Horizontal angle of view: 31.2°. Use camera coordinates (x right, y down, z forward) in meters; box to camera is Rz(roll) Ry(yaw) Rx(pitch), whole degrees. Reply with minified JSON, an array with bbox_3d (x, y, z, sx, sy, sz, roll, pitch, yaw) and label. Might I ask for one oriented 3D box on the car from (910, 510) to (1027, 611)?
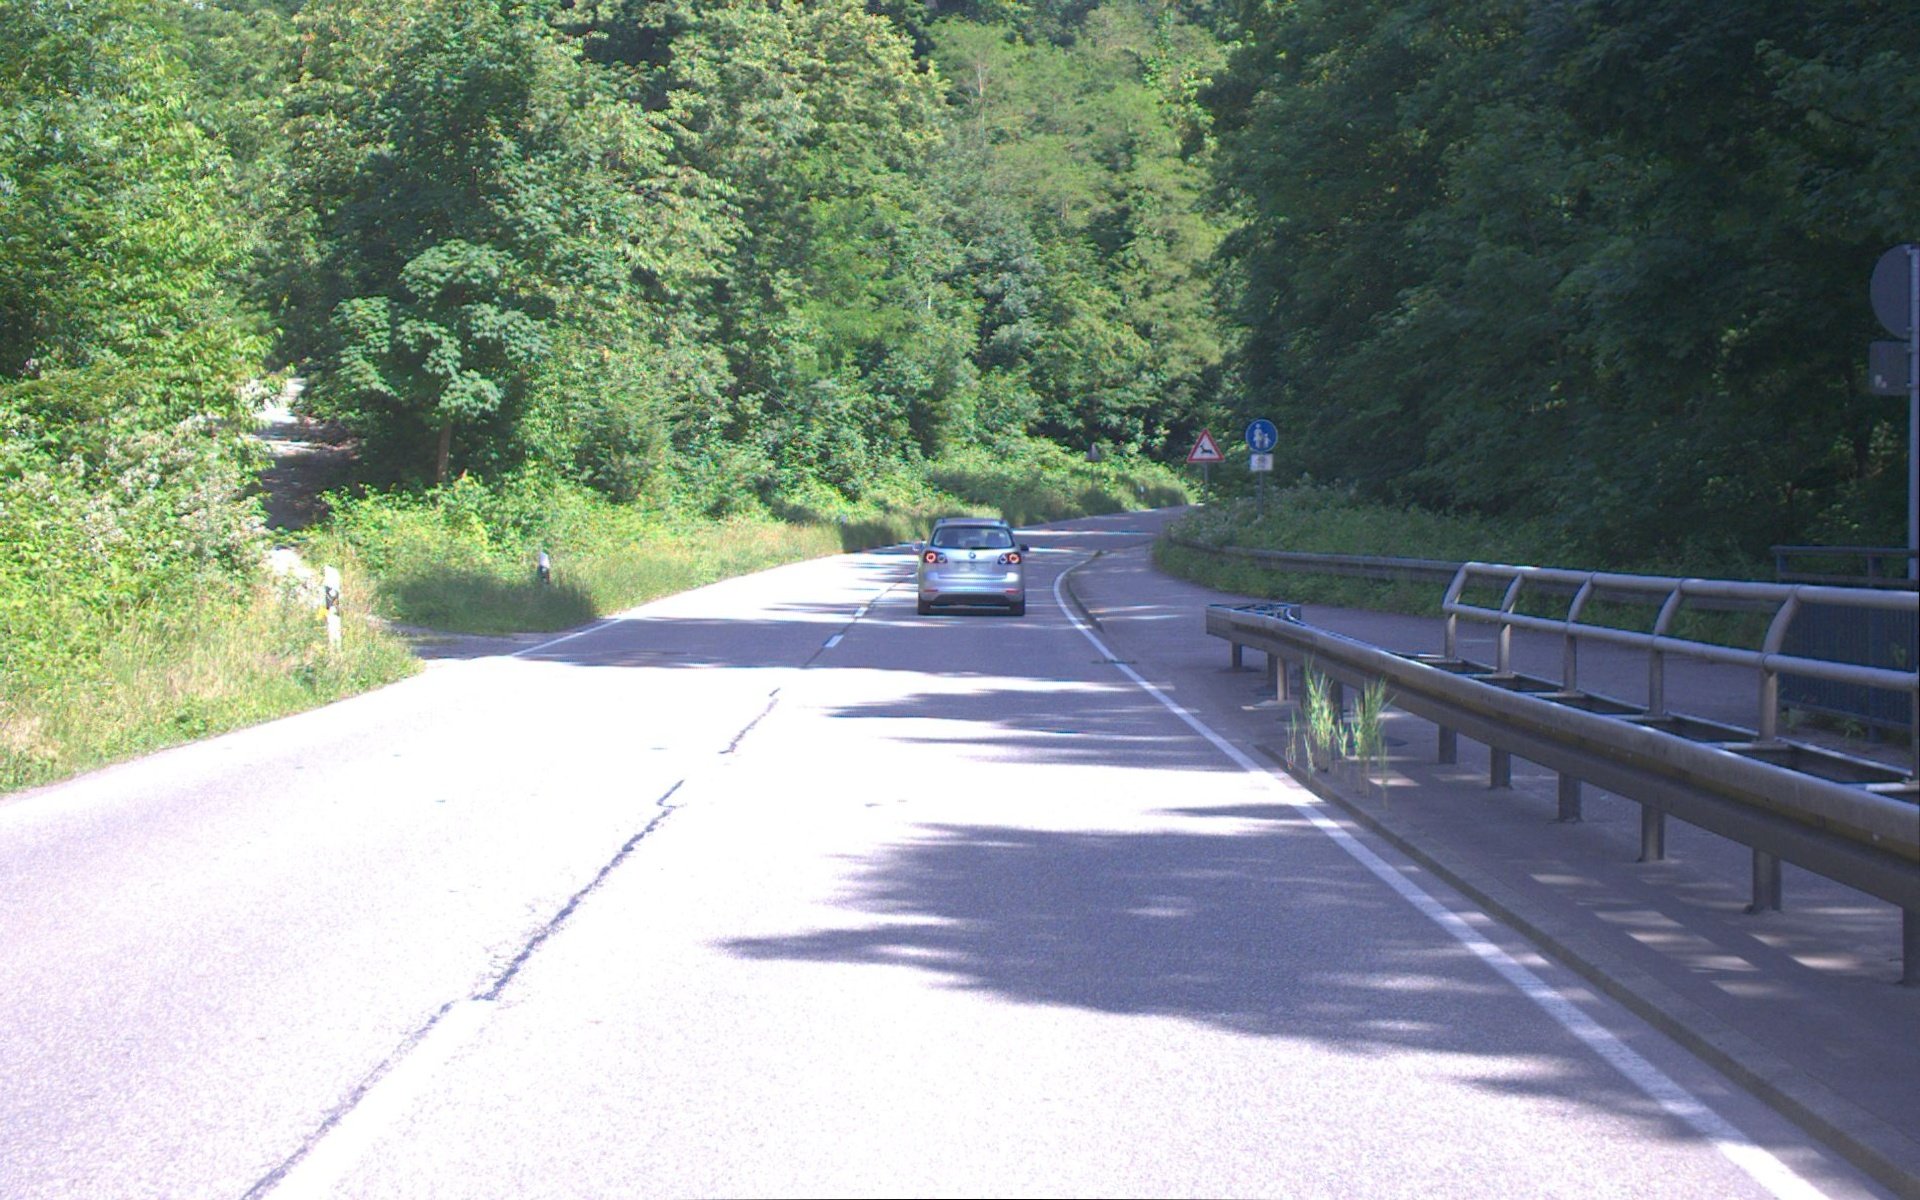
[{"bbox_3d":[0.173,-0.680,56.172,1.751,1.514,4.159,1,2,2],"label":"car"}]
